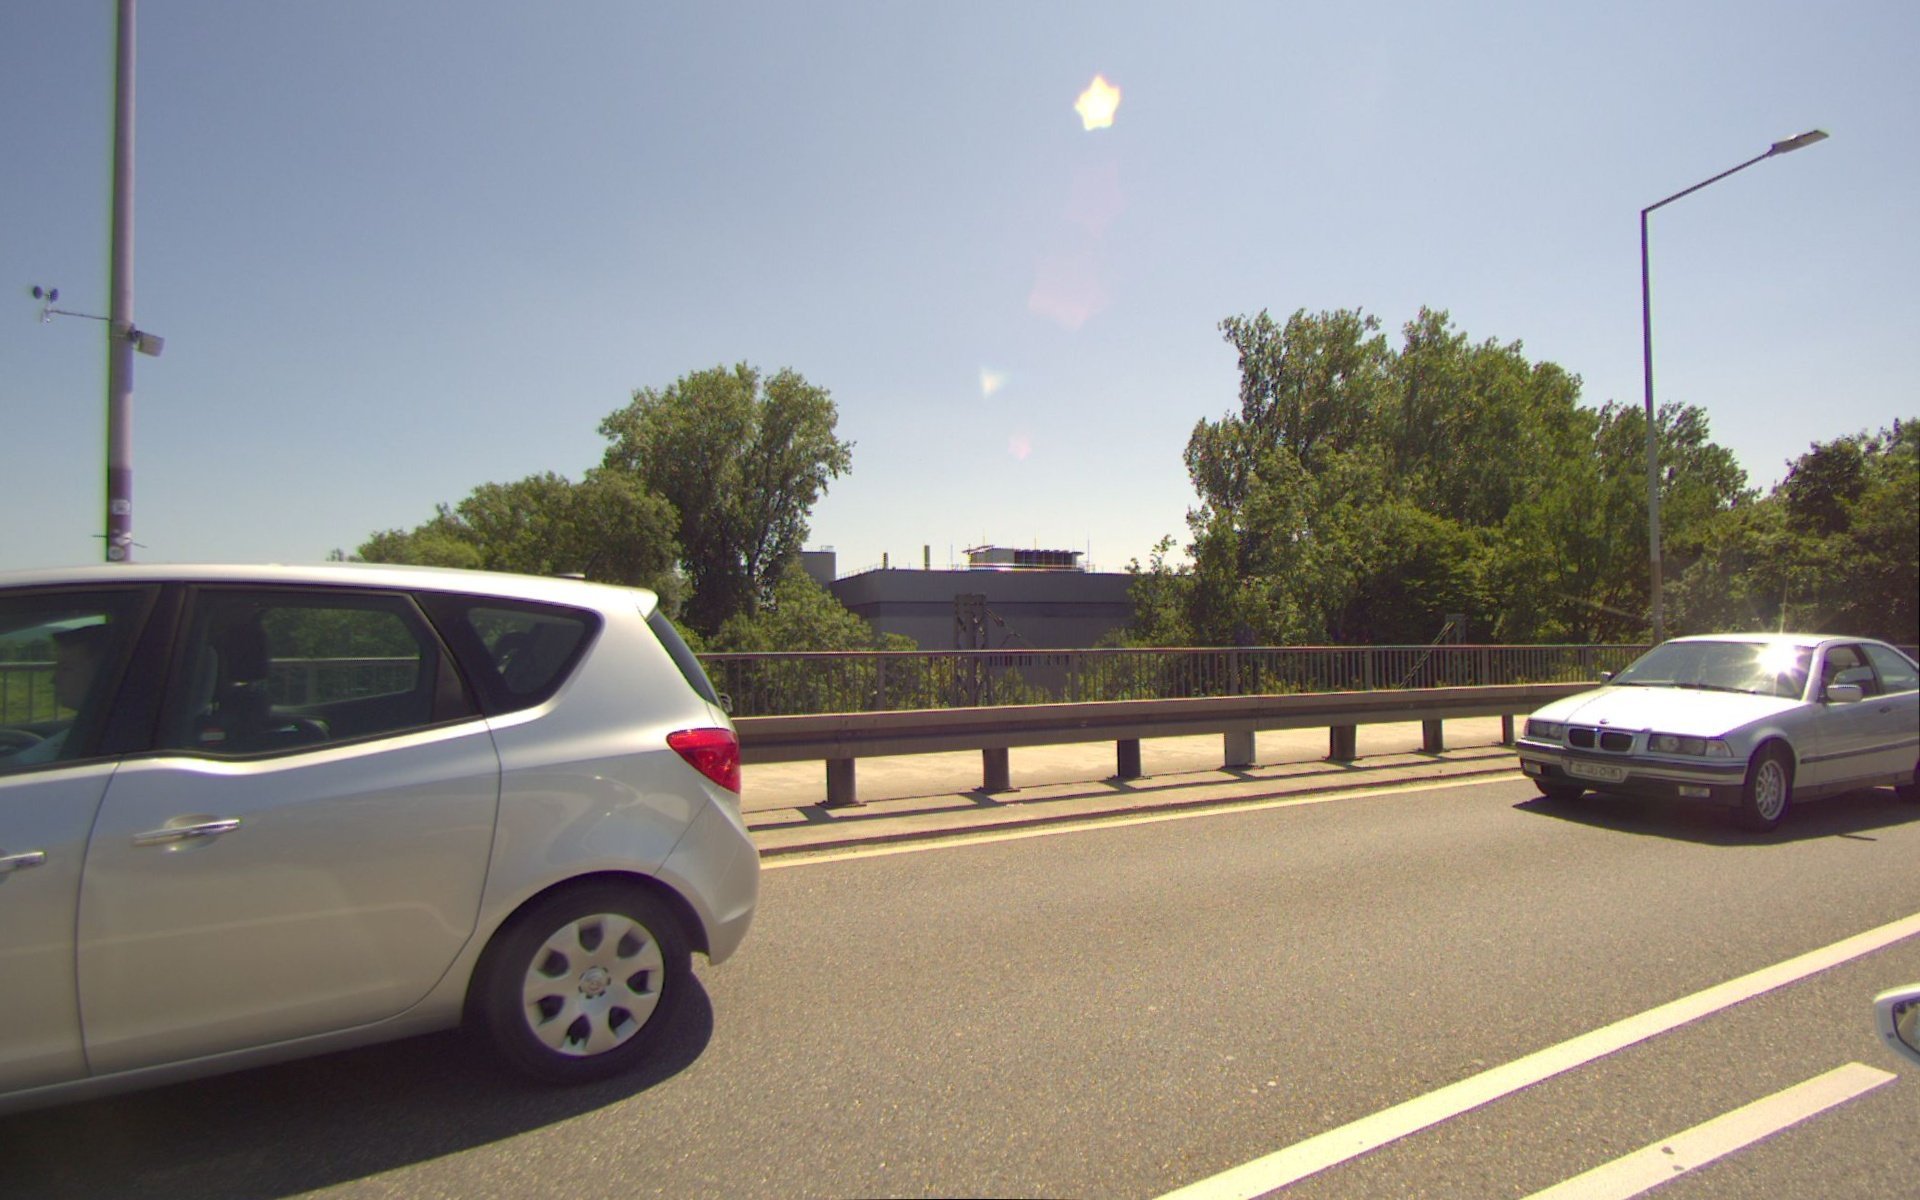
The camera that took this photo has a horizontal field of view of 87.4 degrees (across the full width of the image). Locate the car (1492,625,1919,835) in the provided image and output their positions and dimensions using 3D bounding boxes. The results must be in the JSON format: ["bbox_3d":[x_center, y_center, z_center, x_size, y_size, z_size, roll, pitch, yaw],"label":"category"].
[{"bbox_3d":[6.512,0.928,8.379,3.947,1.394,1.691,1,-1,-26],"label":"car"}]

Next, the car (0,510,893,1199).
[{"bbox_3d":[-2.438,0.609,3.166,4.130,1.601,1.727,1,-1,-32],"label":"car"}]
